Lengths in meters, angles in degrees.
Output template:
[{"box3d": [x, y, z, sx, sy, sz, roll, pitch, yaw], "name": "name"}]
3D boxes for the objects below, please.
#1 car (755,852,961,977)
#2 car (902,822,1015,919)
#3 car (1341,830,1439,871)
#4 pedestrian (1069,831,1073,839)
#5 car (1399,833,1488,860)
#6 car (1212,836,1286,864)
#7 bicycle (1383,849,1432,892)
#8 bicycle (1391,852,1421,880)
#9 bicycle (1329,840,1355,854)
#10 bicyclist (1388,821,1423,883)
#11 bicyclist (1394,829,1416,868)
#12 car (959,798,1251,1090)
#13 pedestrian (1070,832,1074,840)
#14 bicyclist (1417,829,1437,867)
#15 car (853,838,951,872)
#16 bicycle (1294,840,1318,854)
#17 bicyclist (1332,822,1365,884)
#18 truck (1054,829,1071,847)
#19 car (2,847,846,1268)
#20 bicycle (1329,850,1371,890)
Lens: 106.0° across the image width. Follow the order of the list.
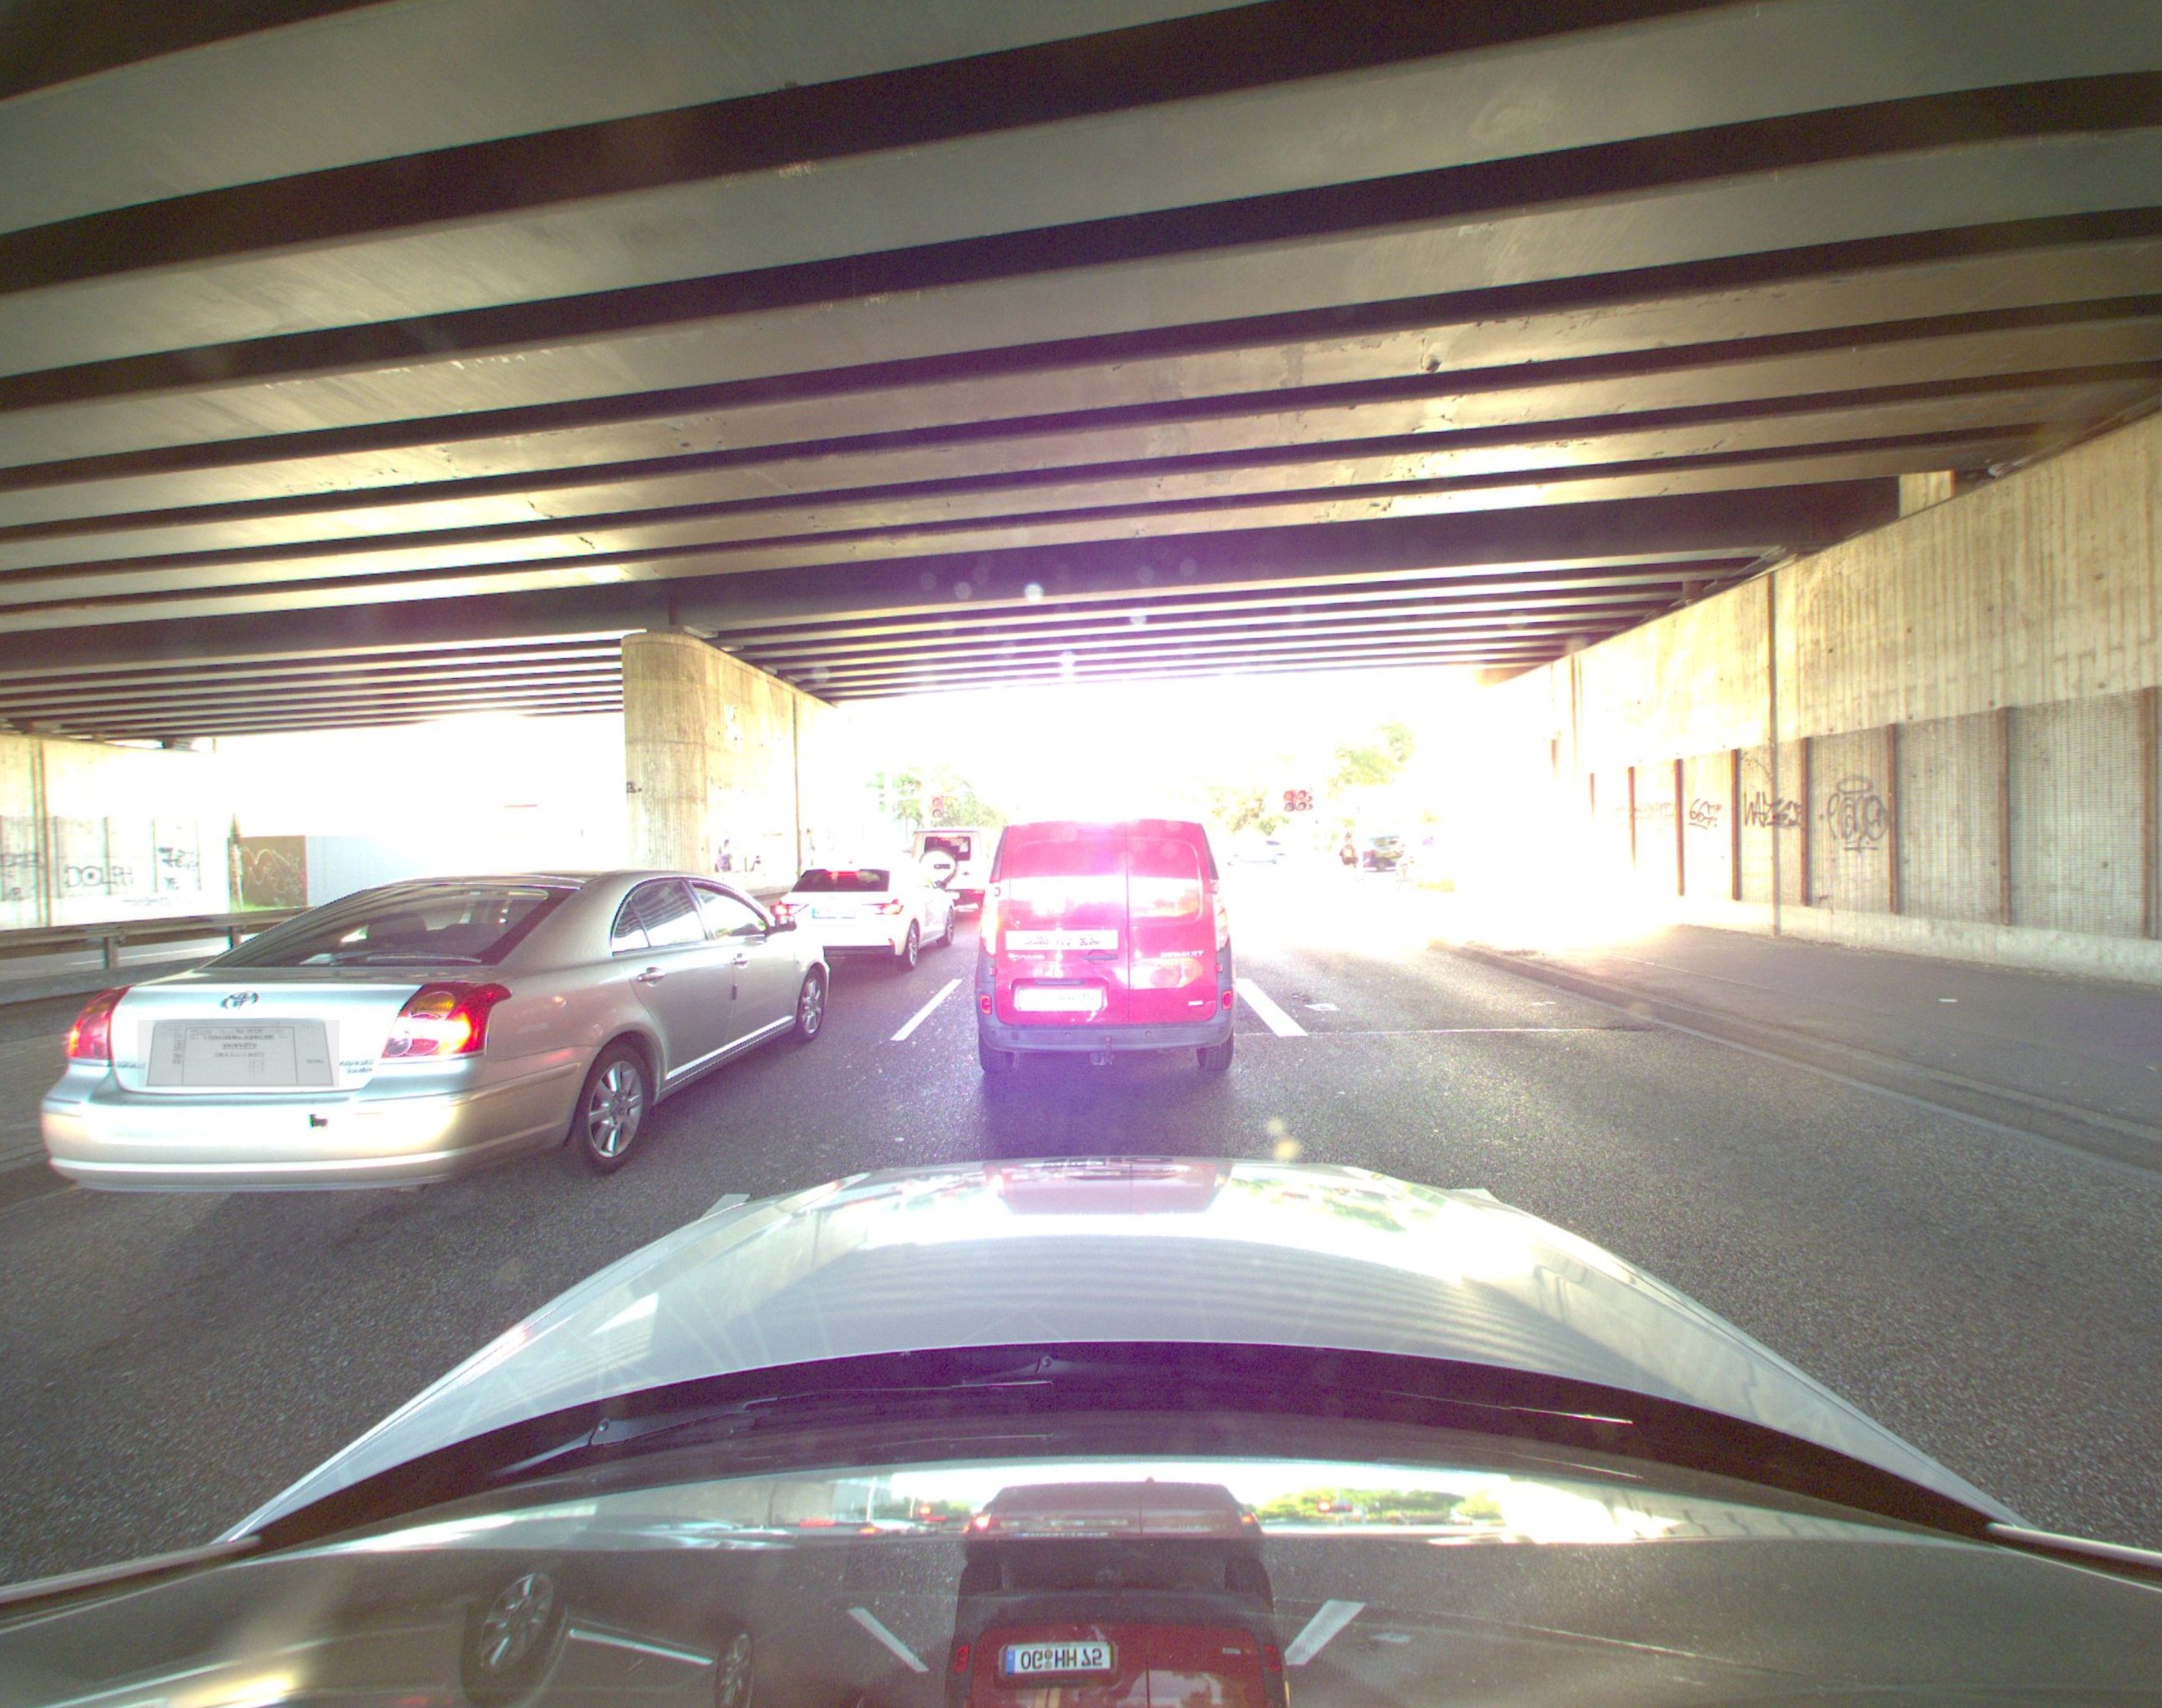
[{"box3d": [-2.943, 0.719, 11.612, 1.807, 1.438, 3.732, -1, 1, 1], "name": "car"}, {"box3d": [-2.704, 0.359, 19.043, 1.794, 1.989, 4.591, 0, -1, 2], "name": "car"}, {"box3d": [13.782, -0.172, 36.377, 3.984, 1.706, 1.712, -1, 0, -22], "name": "car"}, {"box3d": [-2.582, -4.992, 208.778, 0.736, 2.014, 0.638, 0, -1, 5], "name": "pedestrian"}, {"box3d": [21.396, -0.416, 48.209, 4.521, 1.514, 1.832, -1, -1, 9], "name": "car"}, {"box3d": [9.296, -0.223, 45.268, 3.735, 1.448, 1.694, -1, 0, -1], "name": "car"}, {"box3d": [8.249, 0.403, 20.628, 0.589, 1.023, 1.751, 0, -1, 2], "name": "bicycle"}, {"box3d": [12.297, 0.439, 30.860, 0.667, 1.023, 2.062, -1, -1, 12], "name": "bicycle"}, {"box3d": [19.429, -0.538, 60.640, 1.734, 1.023, 0.595, -1, -1, 10], "name": "bicycle"}, {"box3d": [8.218, -0.053, 20.643, 0.589, 1.548, 0.769, 0, -1, 1], "name": "bicyclist"}, {"box3d": [12.298, -0.211, 30.902, 0.660, 1.474, 0.753, -1, -1, 12], "name": "bicyclist"}, {"box3d": [0.211, 0.573, 7.051, 1.798, 1.794, 4.001, 0, -1, 2], "name": "car"}, {"box3d": [-2.468, -4.905, 219.733, 0.936, 2.014, 0.695, 0, -1, 5], "name": "pedestrian"}, {"box3d": [13.688, -0.230, 32.193, 0.644, 1.480, 0.621, -1, 1, 17], "name": "bicyclist"}, {"box3d": [-8.367, 0.075, 38.381, 1.804, 1.514, 4.592, -1, -1, 32], "name": "car"}, {"box3d": [17.193, -0.509, 62.157, 1.734, 1.023, 0.595, -1, -1, 10], "name": "bicycle"}, {"box3d": [7.146, -0.028, 21.774, 0.589, 1.613, 0.943, 0, -1, 2], "name": "bicyclist"}, {"box3d": [-3.336, -2.896, 147.889, 2.399, 3.026, 6.661, -4, 0, 3], "name": "truck"}, {"box3d": [-3.000, 0.735, 5.106, 1.727, 1.480, 4.319, -1, 0, 0], "name": "car"}, {"box3d": [7.163, 0.421, 21.735, 0.589, 1.023, 1.751, 0, -1, 2], "name": "bicycle"}]
